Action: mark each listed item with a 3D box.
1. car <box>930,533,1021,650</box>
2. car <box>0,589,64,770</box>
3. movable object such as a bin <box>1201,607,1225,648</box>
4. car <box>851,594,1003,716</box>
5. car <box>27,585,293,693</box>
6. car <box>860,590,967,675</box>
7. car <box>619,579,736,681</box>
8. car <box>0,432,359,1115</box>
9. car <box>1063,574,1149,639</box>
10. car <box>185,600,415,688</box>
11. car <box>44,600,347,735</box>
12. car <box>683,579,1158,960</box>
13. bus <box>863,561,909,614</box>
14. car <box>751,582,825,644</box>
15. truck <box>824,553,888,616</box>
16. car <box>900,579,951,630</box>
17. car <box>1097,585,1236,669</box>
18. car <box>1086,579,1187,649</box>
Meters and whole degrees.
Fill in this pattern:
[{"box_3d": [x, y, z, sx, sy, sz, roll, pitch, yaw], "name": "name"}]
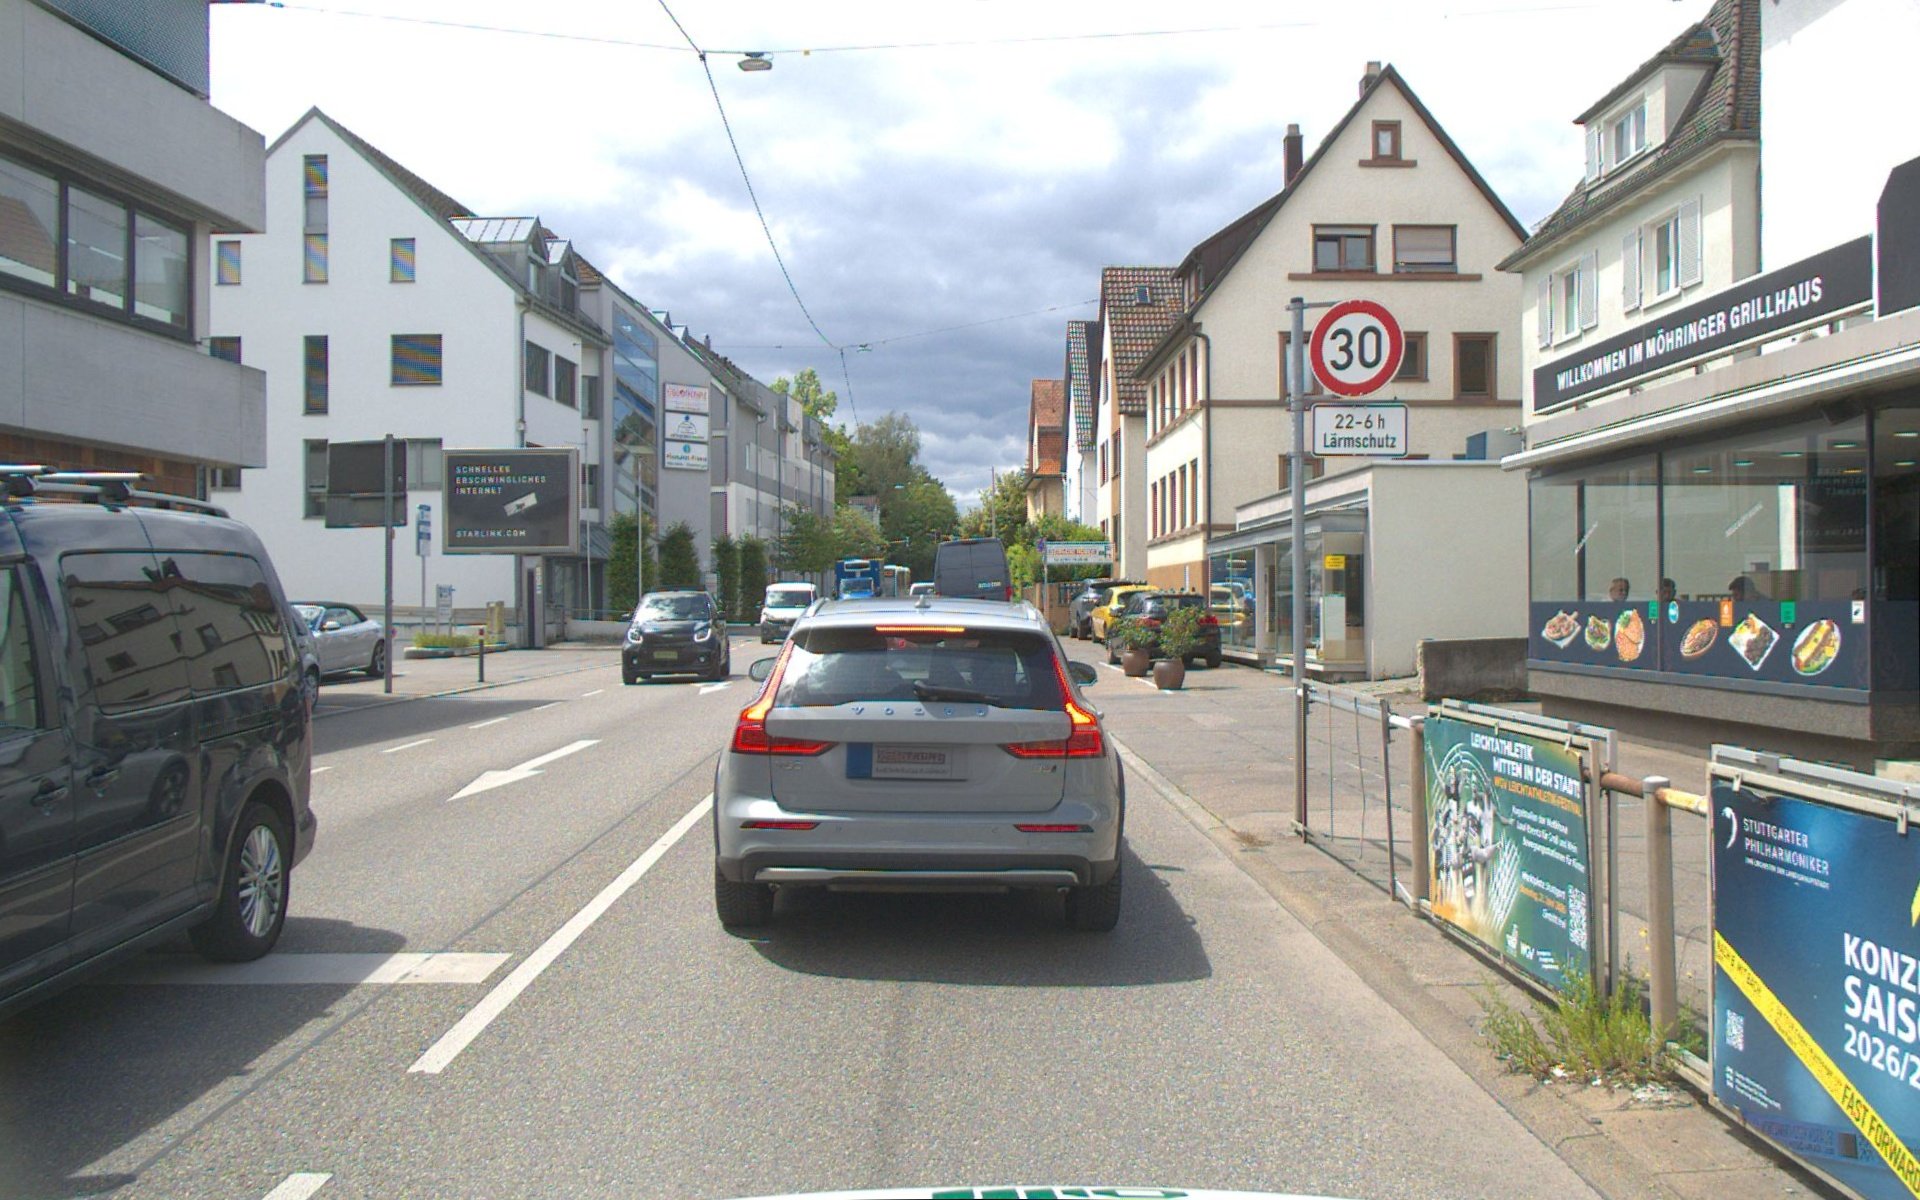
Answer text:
[{"box_3d": [0.341, -0.227, 43.821, 2.207, 2.844, 5.568, -1, 0, -1], "name": "car"}, {"box_3d": [-9.312, 0.694, 13.989, 1.700, 1.583, 3.057, 1, 0, 2], "name": "car"}, {"box_3d": [5.946, 0.636, 38.833, 0.490, 0.941, 0.598, -1, 0, 3], "name": "movable object such as a bin"}, {"box_3d": [-0.385, 0.667, 22.241, 1.857, 1.472, 3.969, 0, 0, 0], "name": "car"}, {"box_3d": [-14.094, 0.621, 29.546, 1.910, 1.647, 4.933, -3, 0, 6], "name": "car"}, {"box_3d": [-0.849, 0.555, 30.810, 1.858, 1.472, 3.967, 0, 0, -1], "name": "car"}, {"box_3d": [-4.881, 0.492, 28.863, 1.643, 1.664, 2.832, -1, 0, -3], "name": "car"}, {"box_3d": [-3.664, 0.495, 5.173, 1.909, 1.909, 4.875, -1, 0, -2], "name": "car"}, {"box_3d": [3.979, 0.160, 45.656, 1.823, 1.640, 4.585, -2, 0, -1], "name": "car"}, {"box_3d": [-11.522, 0.713, 29.288, 1.910, 1.381, 4.857, -1, 0, 3], "name": "car"}, {"box_3d": [-9.210, 0.744, 20.333, 1.686, 1.447, 4.149, 1, 0, 2], "name": "car"}, {"box_3d": [-0.124, 0.652, 8.485, 1.857, 1.479, 3.969, 0, 0, 1], "name": "car"}, {"box_3d": [-4.762, -0.796, 107.932, 2.628, 3.219, 10.182, -1, 0, -1], "name": "bus"}, {"box_3d": [-5.339, 0.374, 51.844, 1.906, 1.852, 4.277, -1, 0, -1], "name": "car"}, {"box_3d": [-5.407, -0.785, 87.386, 2.795, 3.147, 8.089, -1, 0, 0], "name": "truck"}, {"box_3d": [-1.388, 0.176, 68.557, 1.952, 2.049, 4.001, 0, 0, 1], "name": "car"}, {"box_3d": [3.954, 0.477, 32.359, 1.929, 1.473, 4.533, -1, 0, -3], "name": "car"}, {"box_3d": [4.295, 0.295, 40.874, 1.839, 1.472, 4.306, -1, 3, -3], "name": "car"}]
